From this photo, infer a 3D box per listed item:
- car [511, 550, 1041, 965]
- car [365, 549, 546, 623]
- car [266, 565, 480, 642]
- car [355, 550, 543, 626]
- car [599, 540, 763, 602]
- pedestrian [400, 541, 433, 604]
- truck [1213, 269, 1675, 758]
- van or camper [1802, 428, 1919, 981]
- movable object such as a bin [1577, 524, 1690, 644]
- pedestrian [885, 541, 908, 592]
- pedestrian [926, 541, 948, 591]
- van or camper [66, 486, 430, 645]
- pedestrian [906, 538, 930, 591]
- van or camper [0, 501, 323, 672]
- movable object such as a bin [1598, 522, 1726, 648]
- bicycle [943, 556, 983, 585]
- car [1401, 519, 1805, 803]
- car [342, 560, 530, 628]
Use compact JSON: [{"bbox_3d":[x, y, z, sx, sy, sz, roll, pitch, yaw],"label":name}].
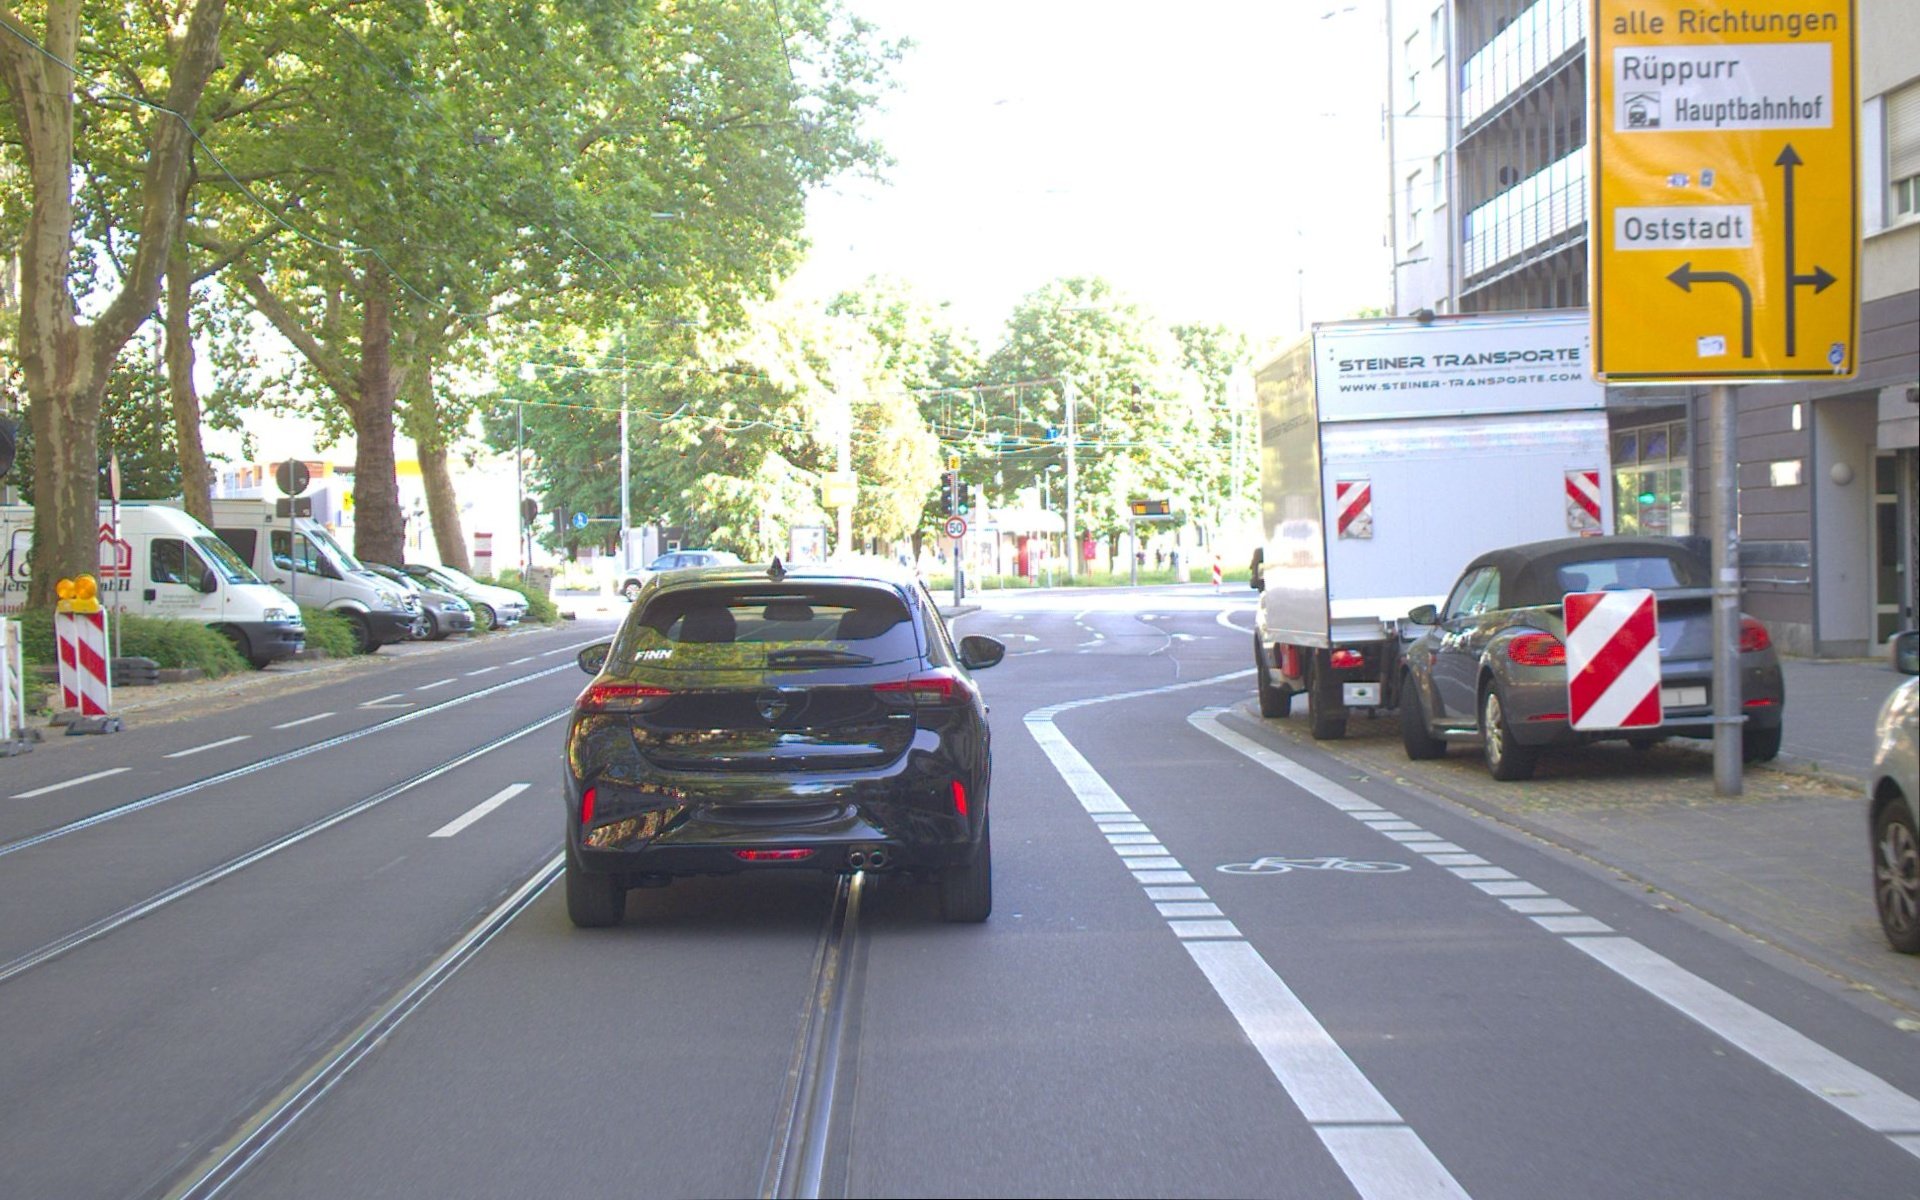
[{"bbox_3d":[-0.632,0.552,14.642,1.781,1.491,4.000,0,1,4],"label":"car"},{"bbox_3d":[-12.205,-0.349,83.350,4.167,1.665,1.965,-1,1,-3],"label":"car"},{"bbox_3d":[-11.712,0.069,68.742,3.987,1.510,1.650,0,1,1],"label":"car"},{"bbox_3d":[-11.985,-0.292,80.837,4.167,1.665,1.965,-1,1,-3],"label":"car"},{"bbox_3d":[-8.773,-0.914,107.950,4.731,1.690,1.997,-2,1,29],"label":"car"},{"bbox_3d":[-18.958,-0.958,119.881,0.819,2.213,0.899,0,1,-35],"label":"pedestrian"},{"bbox_3d":[3.710,-0.665,28.056,2.538,3.326,7.195,-4,1,0],"label":"truck"},{"bbox_3d":[4.102,0.345,10.824,1.669,1.876,4.211,-2,1,-2],"label":"van or camper"},{"bbox_3d":[8.709,-0.213,44.504,1.110,1.479,1.388,-3,1,0],"label":"movable object such as a bin"},{"bbox_3d":[-2.318,-1.229,125.083,0.618,1.847,0.582,1,1,41],"label":"pedestrian"},{"bbox_3d":[-0.846,-1.246,126.757,0.582,1.847,0.618,0,1,-26],"label":"pedestrian"},{"bbox_3d":[-12.047,-0.585,58.462,5.723,2.635,2.269,0,1,0],"label":"van or camper"},{"bbox_3d":[-1.534,-1.278,125.320,0.658,1.926,0.608,0,1,31],"label":"pedestrian"},{"bbox_3d":[-12.093,-0.207,49.116,5.502,2.371,2.269,0,1,3],"label":"van or camper"},{"bbox_3d":[8.715,-0.192,42.750,1.186,1.479,1.595,-3,1,0],"label":"movable object such as a bin"},{"bbox_3d":[0.101,-1.012,118.486,0.789,0.988,2.241,0,1,16],"label":"bicycle"},{"bbox_3d":[4.018,0.323,22.131,1.731,1.552,4.152,-4,1,0],"label":"car"},{"bbox_3d":[-11.873,-0.144,78.025,3.987,1.510,1.650,0,1,1],"label":"car"}]
